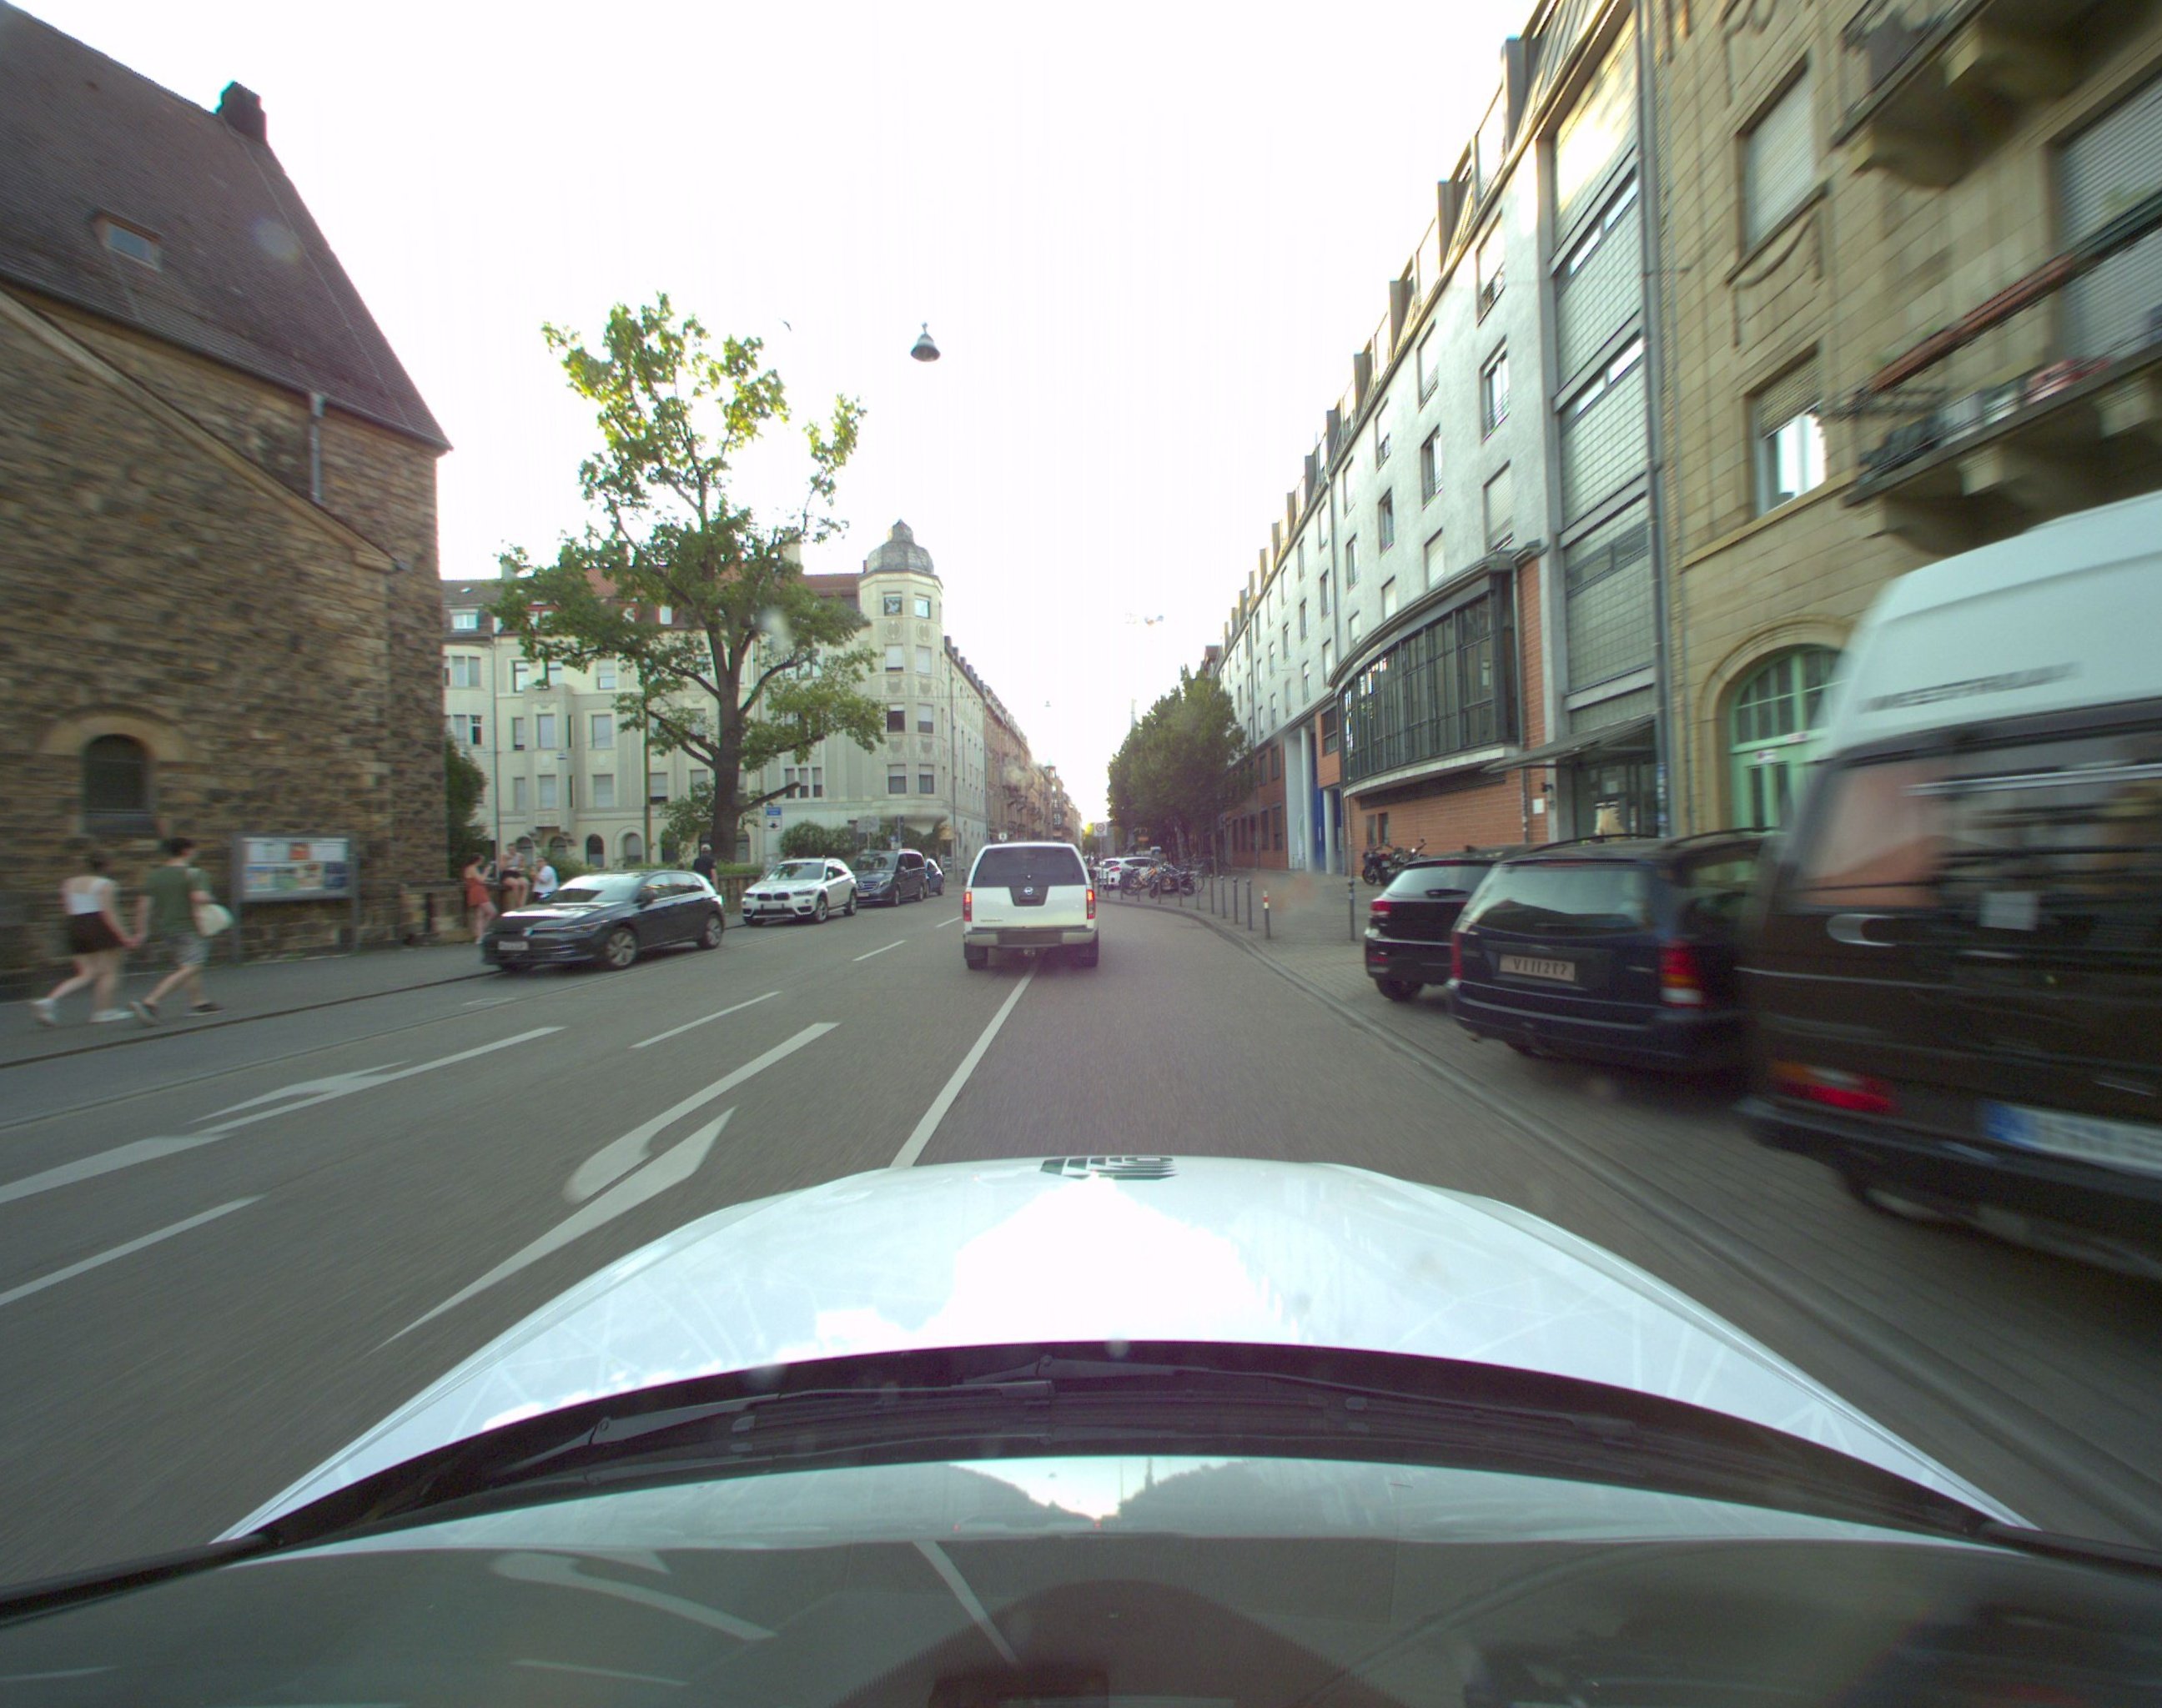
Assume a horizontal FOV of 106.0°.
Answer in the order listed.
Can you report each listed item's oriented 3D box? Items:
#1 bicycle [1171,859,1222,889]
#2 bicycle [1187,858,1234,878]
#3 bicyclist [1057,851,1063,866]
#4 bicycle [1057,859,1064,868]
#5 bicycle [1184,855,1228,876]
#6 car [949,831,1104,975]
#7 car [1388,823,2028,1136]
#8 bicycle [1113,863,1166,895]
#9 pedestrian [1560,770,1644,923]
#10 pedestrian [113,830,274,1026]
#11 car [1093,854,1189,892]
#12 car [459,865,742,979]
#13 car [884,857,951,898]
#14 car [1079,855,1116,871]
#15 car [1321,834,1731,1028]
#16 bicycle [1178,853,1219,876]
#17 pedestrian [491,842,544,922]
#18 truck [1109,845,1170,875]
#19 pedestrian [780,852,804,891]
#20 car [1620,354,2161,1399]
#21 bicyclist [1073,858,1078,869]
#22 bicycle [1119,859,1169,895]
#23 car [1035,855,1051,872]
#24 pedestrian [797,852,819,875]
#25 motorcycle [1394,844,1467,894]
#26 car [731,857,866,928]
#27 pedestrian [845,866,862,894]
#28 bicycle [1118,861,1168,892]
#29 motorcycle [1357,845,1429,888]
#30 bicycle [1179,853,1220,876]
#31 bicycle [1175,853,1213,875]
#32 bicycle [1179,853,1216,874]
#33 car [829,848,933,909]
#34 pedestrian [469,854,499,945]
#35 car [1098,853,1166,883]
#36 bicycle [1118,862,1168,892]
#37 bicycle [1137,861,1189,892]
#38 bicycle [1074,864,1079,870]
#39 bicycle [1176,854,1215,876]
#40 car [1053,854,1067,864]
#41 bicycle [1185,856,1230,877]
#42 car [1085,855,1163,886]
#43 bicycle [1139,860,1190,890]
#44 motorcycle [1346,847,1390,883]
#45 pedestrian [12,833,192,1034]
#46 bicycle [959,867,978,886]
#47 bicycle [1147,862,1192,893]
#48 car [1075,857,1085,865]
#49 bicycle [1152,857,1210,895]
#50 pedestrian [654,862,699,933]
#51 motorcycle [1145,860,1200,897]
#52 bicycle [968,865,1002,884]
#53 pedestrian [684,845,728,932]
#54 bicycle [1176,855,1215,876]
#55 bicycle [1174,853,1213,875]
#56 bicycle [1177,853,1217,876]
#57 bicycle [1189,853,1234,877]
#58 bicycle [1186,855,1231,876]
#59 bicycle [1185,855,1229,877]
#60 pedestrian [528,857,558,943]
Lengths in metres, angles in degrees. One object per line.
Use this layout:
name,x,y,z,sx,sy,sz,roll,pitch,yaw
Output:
bicycle,4.445,0.766,31.460,1.851,1.066,0.524,-4,0,0
bicycle,7.359,0.798,46.447,2.523,0.959,0.681,-5,-1,4
bicyclist,-2.380,0.560,93.888,0.600,1.685,1.143,-2,-1,2
bicycle,-2.366,1.080,93.907,0.612,1.040,1.905,-2,0,2
bicycle,7.497,0.707,48.952,2.523,1.166,0.562,-2,-1,4
car,-0.637,0.568,12.612,1.926,1.794,4.623,-1,1,1
car,4.547,0.595,5.844,4.365,1.502,1.897,-2,0,-26
bicycle,2.161,0.926,30.245,1.851,1.038,0.472,-4,0,0
pedestrian,7.139,-0.101,11.196,0.604,2.013,0.858,-1,0,3
pedestrian,-9.033,0.715,8.331,0.645,1.879,0.891,-1,0,-1
car,2.740,0.845,37.044,4.010,1.506,1.754,-2,-1,-28
car,-7.374,0.950,13.121,1.776,1.435,4.319,-2,0,3
car,-6.611,0.906,33.379,1.633,1.555,4.008,-1,0,4
car,1.950,1.082,97.147,4.172,1.780,1.823,-1,0,7
car,4.558,0.603,8.226,4.081,1.492,1.707,-2,0,-29
bicycle,7.590,0.681,52.654,2.523,1.379,0.600,-2,-1,4
pedestrian,-11.083,0.540,16.011,0.644,1.545,0.589,-2,-1,25
truck,6.200,0.675,86.313,6.294,2.977,2.265,-1,-3,3
pedestrian,-13.124,0.791,37.009,0.704,1.721,0.837,-2,-1,0
car,4.611,0.019,3.324,4.737,2.547,1.901,-1,-1,-28
bicyclist,-0.829,1.586,134.909,0.798,1.849,0.943,-1,-1,-1
bicycle,2.251,0.830,29.150,1.702,1.176,0.472,-4,-1,0
car,-4.378,1.112,93.259,1.553,1.921,3.857,0,0,1
pedestrian,-12.411,0.437,37.019,0.704,0.980,0.837,-2,-1,0
motorcycle,8.912,0.367,20.882,0.797,1.139,2.441,-4,0,1
car,-7.154,0.902,21.131,1.865,1.592,4.468,-2,0,0
pedestrian,-12.750,1.450,45.663,0.699,1.469,0.784,-2,-1,0
bicycle,2.364,0.857,31.249,1.851,1.066,0.445,-4,-1,0
motorcycle,9.125,0.366,23.939,0.775,1.139,2.407,-3,0,-11
bicycle,7.575,0.676,51.957,2.523,1.379,0.600,-2,-1,4
bicycle,7.719,0.672,55.557,2.523,1.379,0.600,-2,-1,4
bicycle,8.233,0.681,57.414,2.523,1.379,0.600,-2,-1,4
car,-6.775,0.769,28.250,1.985,1.866,5.294,-1,0,3
pedestrian,-11.270,0.851,15.364,0.417,1.674,0.542,-1,-1,-38
car,2.972,0.797,47.681,3.618,1.580,1.699,-2,-1,-32
bicycle,2.415,0.889,31.852,1.851,1.066,0.445,-4,-1,0
bicycle,3.097,0.837,30.799,1.851,1.038,0.402,-4,-1,0
bicycle,-0.811,2.172,134.812,0.798,0.947,2.004,-1,0,0
bicycle,7.610,0.718,54.115,2.523,1.379,0.600,-2,-1,4
car,-3.084,0.747,122.470,1.784,1.530,4.002,-1,0,2
bicycle,7.398,0.717,47.686,2.523,1.166,0.562,-2,-1,4
car,2.401,0.868,44.937,4.011,1.537,1.620,-2,0,-29
bicycle,3.346,0.852,32.688,1.905,1.066,0.524,-4,0,0
motorcycle,9.264,0.352,26.350,0.586,1.103,2.083,-4,0,-1
pedestrian,-9.669,0.738,8.086,0.571,1.856,0.988,-1,0,-1
bicycle,-6.663,1.339,48.215,0.420,1.012,1.726,-1,1,16
bicycle,3.209,0.849,29.726,1.534,1.038,0.472,-4,0,0
car,-0.204,1.452,176.098,1.838,1.552,4.360,-1,0,4
bicycle,3.485,0.768,28.426,1.852,1.146,0.659,-5,0,1
pedestrian,-9.142,0.956,18.428,0.580,1.552,0.839,-1,-1,-2
motorcycle,3.060,0.804,27.270,1.643,1.101,0.645,-4,0,-7
bicycle,-5.800,1.233,49.115,2.090,1.095,0.504,-1,1,26
pedestrian,-8.469,0.774,18.424,0.580,1.905,0.802,-2,-1,-2
bicycle,7.681,0.770,54.865,2.523,1.379,0.600,-2,-1,4
bicycle,7.777,0.678,56.264,2.523,1.244,0.600,-7,-1,4
bicycle,7.555,0.680,53.333,2.523,1.379,0.600,-2,-1,4
bicycle,7.258,0.600,45.243,2.336,1.099,0.681,-5,-1,4
bicycle,7.359,0.672,47.070,2.523,1.166,0.562,-2,-1,4
bicycle,7.461,0.709,48.341,2.523,1.166,0.562,-2,-1,4
pedestrian,-10.410,0.883,15.751,0.417,1.622,0.542,-1,-1,-38
